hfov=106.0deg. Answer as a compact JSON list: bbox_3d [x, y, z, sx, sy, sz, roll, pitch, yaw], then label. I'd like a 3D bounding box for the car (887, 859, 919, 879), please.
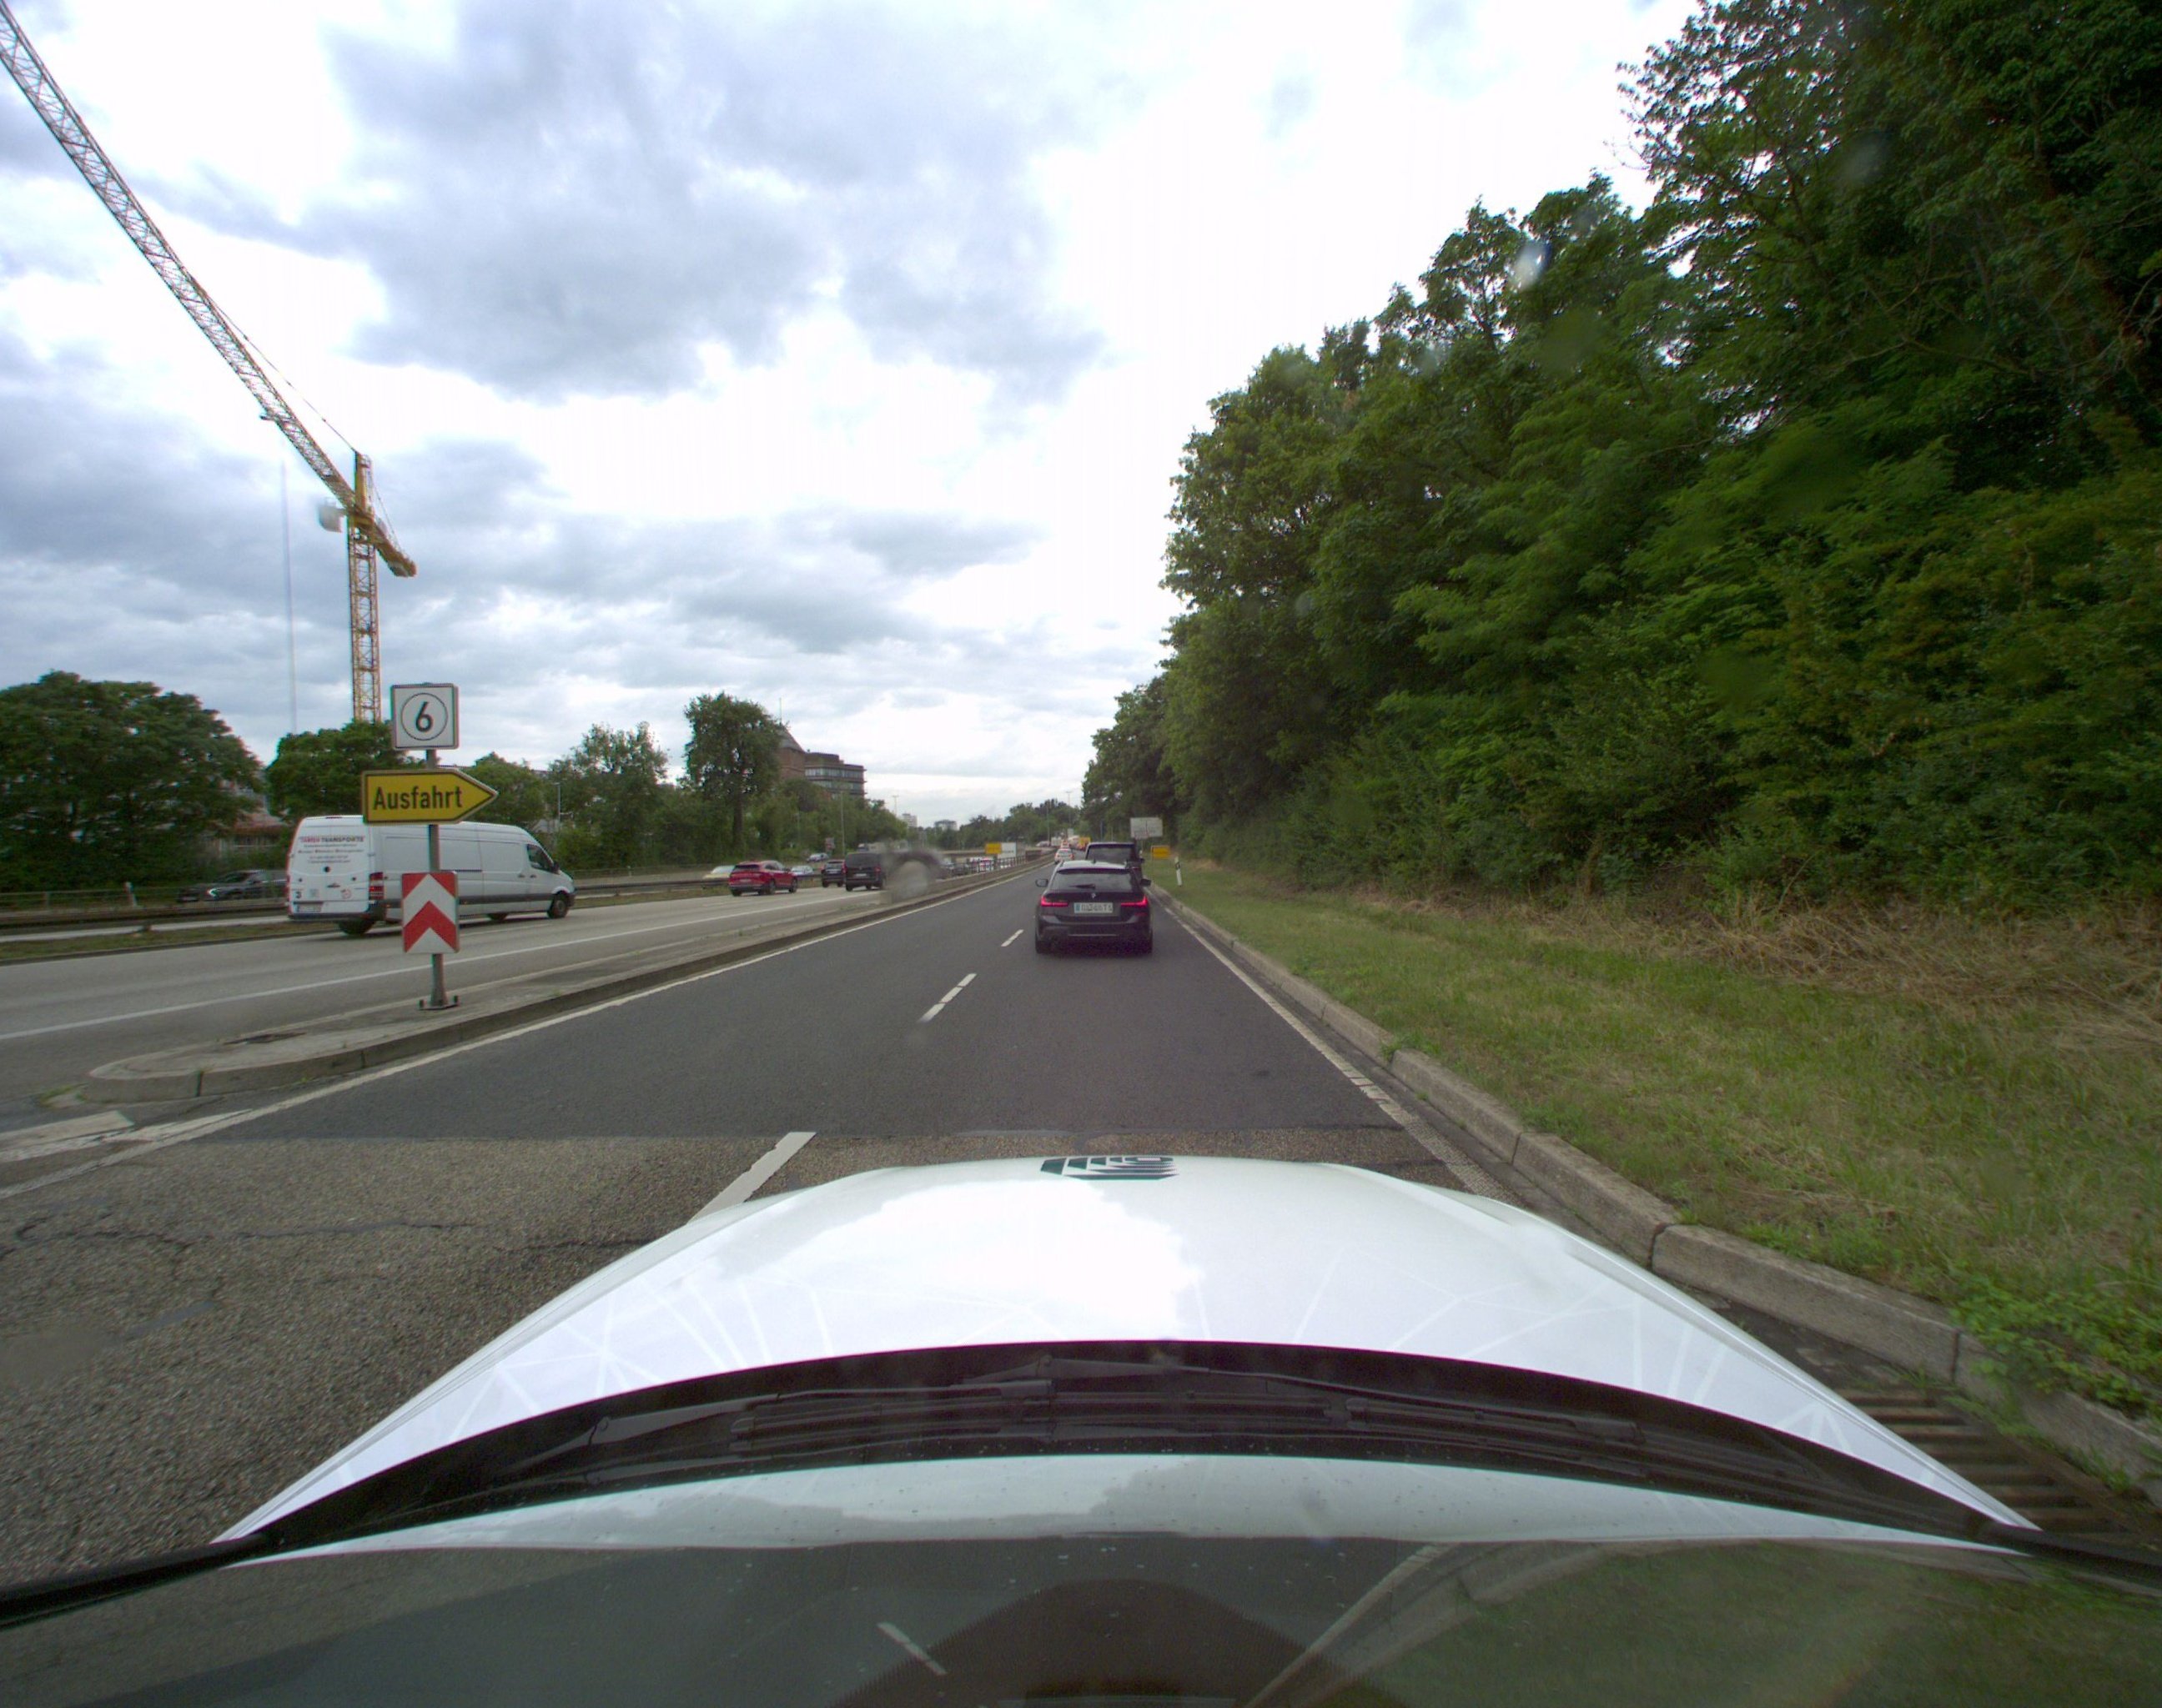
[{"bbox_3d":[-14.486,1.200,66.289,1.682,1.608,4.008,0,0,0],"label":"car"}]

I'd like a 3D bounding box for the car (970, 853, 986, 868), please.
[{"bbox_3d":[-14.237,0.903,112.720,1.438,2.044,3.682,-2,0,2],"label":"car"}]

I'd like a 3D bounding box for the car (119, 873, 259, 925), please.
[{"bbox_3d":[-35.653,1.753,32.690,1.551,1.838,3.620,-2,0,0],"label":"car"}]

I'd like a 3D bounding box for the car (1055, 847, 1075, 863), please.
[{"bbox_3d":[-1.527,0.087,79.114,1.852,1.464,4.885,-1,0,1],"label":"car"}]

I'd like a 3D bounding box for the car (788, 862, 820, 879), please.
[{"bbox_3d":[-25.255,1.490,74.338,1.591,1.490,3.626,-2,0,1],"label":"car"}]

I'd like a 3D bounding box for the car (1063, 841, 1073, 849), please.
[{"bbox_3d":[-2.871,-2.034,182.679,1.929,1.596,3.868,-2,0,-7],"label":"car"}]

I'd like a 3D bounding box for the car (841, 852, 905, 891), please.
[{"bbox_3d":[-10.476,0.842,41.382,1.987,1.851,4.811,-1,0,0],"label":"car"}]

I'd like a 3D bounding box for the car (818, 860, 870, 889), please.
[{"bbox_3d":[-14.802,1.256,51.110,1.884,1.681,4.306,-2,0,0],"label":"car"}]

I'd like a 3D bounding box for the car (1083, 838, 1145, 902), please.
[{"bbox_3d":[1.036,0.473,26.089,1.789,1.872,4.002,-1,0,2],"label":"car"}]

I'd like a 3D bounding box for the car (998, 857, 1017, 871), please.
[{"bbox_3d":[-8.562,1.140,95.015,1.763,1.549,3.492,-2,0,0],"label":"car"}]

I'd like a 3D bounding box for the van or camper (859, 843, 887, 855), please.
[{"bbox_3d":[-45.534,-1.078,178.493,5.694,2.637,1.898,0,0,-43],"label":"van or camper"}]

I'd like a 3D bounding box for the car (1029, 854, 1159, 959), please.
[{"bbox_3d":[0.188,0.753,13.629,1.840,1.466,3.999,-1,0,0],"label":"car"}]

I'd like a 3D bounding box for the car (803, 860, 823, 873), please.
[{"bbox_3d":[-34.429,1.579,104.767,1.341,1.524,3.371,-2,0,2],"label":"car"}]

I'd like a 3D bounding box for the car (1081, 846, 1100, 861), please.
[{"bbox_3d":[0.986,-0.035,83.279,1.852,1.464,4.534,-1,0,1],"label":"car"}]

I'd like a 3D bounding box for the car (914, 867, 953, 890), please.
[{"bbox_3d":[-10.294,1.674,57.082,1.706,1.456,4.669,-1,0,2],"label":"car"}]

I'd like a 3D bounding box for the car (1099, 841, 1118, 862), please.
[{"bbox_3d":[2.163,-0.211,63.980,1.447,1.540,3.226,-2,0,2],"label":"car"}]

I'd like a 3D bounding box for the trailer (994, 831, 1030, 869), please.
[{"bbox_3d":[-9.069,-0.477,109.060,3.121,4.725,14.562,0,0,1],"label":"trailer"}]

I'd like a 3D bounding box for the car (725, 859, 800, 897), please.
[{"bbox_3d":[-15.019,1.069,38.625,1.745,1.635,4.268,-1,0,2],"label":"car"}]

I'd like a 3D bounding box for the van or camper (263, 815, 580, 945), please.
[{"bbox_3d":[-15.727,0.530,20.252,2.042,2.621,6.957,-2,0,1],"label":"van or camper"}]

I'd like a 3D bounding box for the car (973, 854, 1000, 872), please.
[{"bbox_3d":[-9.355,0.866,81.142,1.938,1.692,4.509,-2,0,2],"label":"car"}]

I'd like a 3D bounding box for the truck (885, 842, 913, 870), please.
[{"bbox_3d":[-25.541,0.315,114.400,2.583,3.768,4.779,-2,0,1],"label":"truck"}]
